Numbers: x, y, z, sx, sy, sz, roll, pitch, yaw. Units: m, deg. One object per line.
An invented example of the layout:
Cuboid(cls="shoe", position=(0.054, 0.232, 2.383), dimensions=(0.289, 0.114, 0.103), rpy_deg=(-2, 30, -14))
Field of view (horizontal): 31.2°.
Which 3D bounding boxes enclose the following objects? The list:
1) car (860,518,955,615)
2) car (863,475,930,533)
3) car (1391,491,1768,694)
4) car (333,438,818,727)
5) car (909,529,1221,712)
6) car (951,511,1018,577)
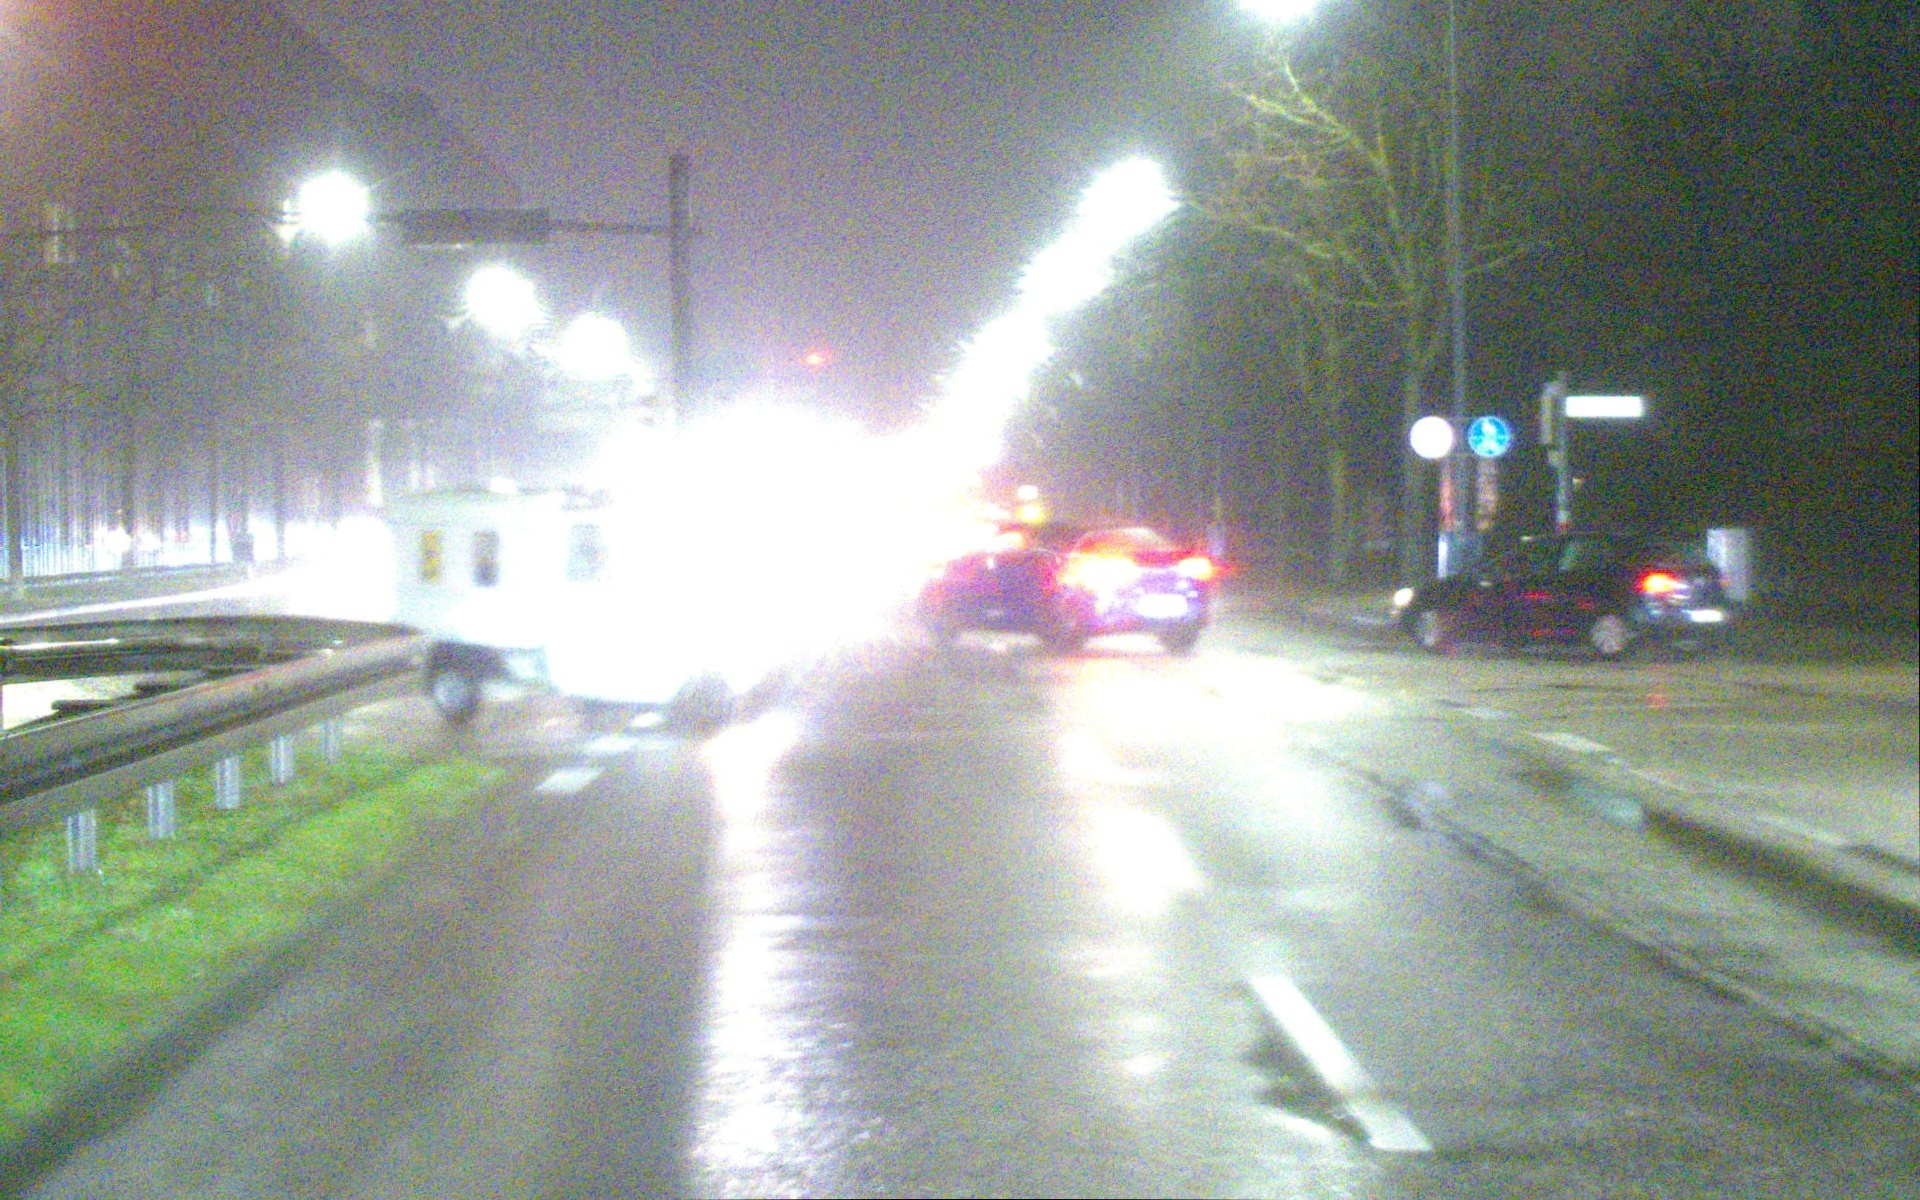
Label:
Cuboid(cls="car", position=(-1.134, -0.735, 76.205), dimensions=(2.038, 2.075, 4.307), rpy_deg=(0, 0, 0))
Cuboid(cls="car", position=(-2.535, -3.754, 135.643), dimensions=(2.441, 2.186, 5.079), rpy_deg=(0, 0, -3))
Cuboid(cls="car", position=(7.094, -0.101, 39.466), dimensions=(3.640, 2.207, 2.210), rpy_deg=(0, 0, 42))
Cuboid(cls="car", position=(-2.915, -0.135, 25.689), dimensions=(3.565, 2.007, 1.700), rpy_deg=(0, 0, 43))
Cuboid(cls="car", position=(1.157, 0.210, 39.872), dimensions=(1.993, 2.007, 4.001), rpy_deg=(0, 0, -26))
Cuboid(cls="car", position=(0.788, -1.716, 107.057), dimensions=(2.038, 2.007, 4.307), rpy_deg=(0, 0, 1))
